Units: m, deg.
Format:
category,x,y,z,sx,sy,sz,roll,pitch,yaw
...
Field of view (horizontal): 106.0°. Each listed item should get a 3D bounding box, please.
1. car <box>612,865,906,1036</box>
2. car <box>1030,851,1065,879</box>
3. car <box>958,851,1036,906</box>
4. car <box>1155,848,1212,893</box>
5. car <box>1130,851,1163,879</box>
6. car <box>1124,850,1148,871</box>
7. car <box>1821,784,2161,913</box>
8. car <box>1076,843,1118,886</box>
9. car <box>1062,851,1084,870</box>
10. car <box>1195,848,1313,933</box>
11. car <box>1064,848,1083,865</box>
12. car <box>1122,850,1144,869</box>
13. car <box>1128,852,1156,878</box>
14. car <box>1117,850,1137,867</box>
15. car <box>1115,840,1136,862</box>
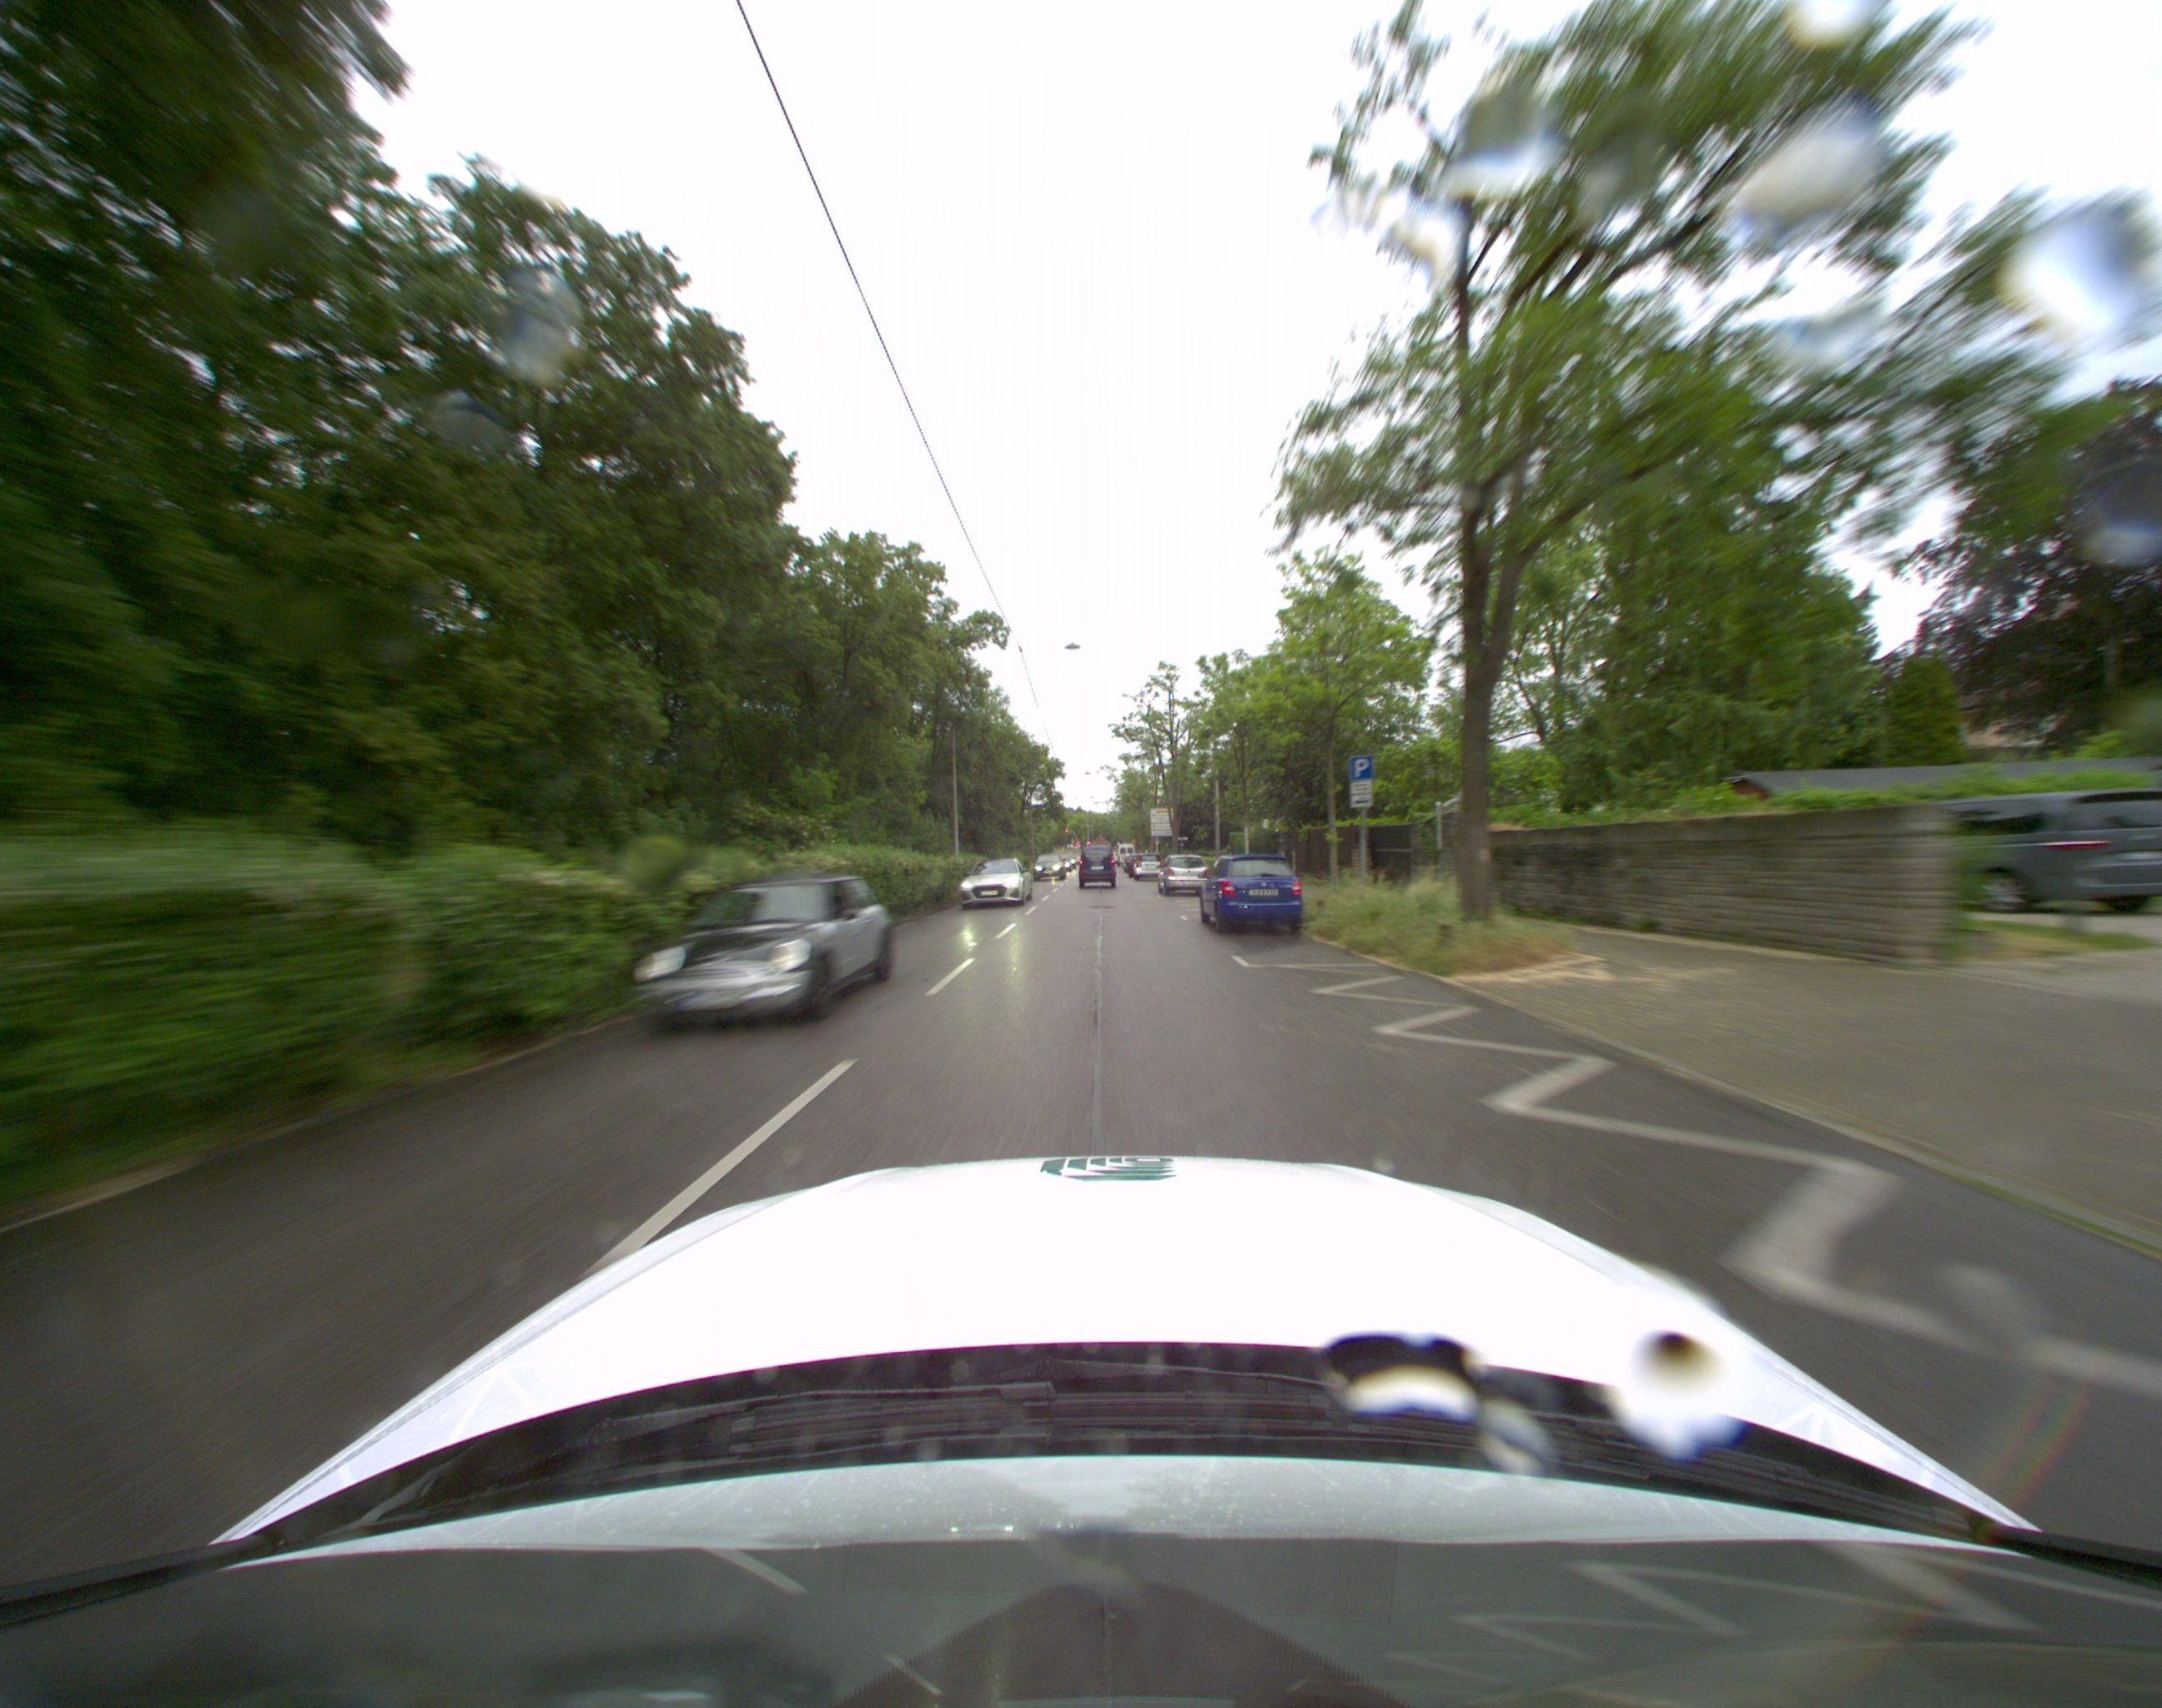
category,x,y,z,sx,sy,sz,roll,pitch,yaw
car,-3.298,0.894,9.193,1.680,1.356,3.725,-3,1,2
car,-1.998,0.645,50.386,1.797,1.547,4.433,-3,1,1
car,-2.638,0.725,26.653,1.849,1.468,4.448,-4,1,2
car,3.729,0.554,30.029,1.613,1.508,3.834,0,1,0
car,3.681,0.598,46.289,1.627,1.509,2.957,0,1,0
car,4.245,0.472,63.476,1.691,1.524,4.213,0,0,2
car,15.237,-0.093,13.682,1.823,1.810,4.257,-1,0,2
car,0.671,0.440,36.670,1.762,1.830,3.540,0,1,-2
car,-0.706,0.549,73.139,1.722,1.442,5.114,-3,1,1
car,3.432,0.653,16.868,1.714,1.505,4.052,0,1,2
car,-0.745,0.213,83.318,1.717,1.615,4.156,-3,1,1
car,4.347,0.430,68.781,1.692,1.524,3.868,0,0,0
car,3.882,0.678,51.951,1.690,1.524,3.872,0,1,4
car,4.199,0.402,75.293,1.692,1.524,3.868,0,0,0
car,5.064,-0.361,93.755,2.197,2.449,4.730,-2,0,1
